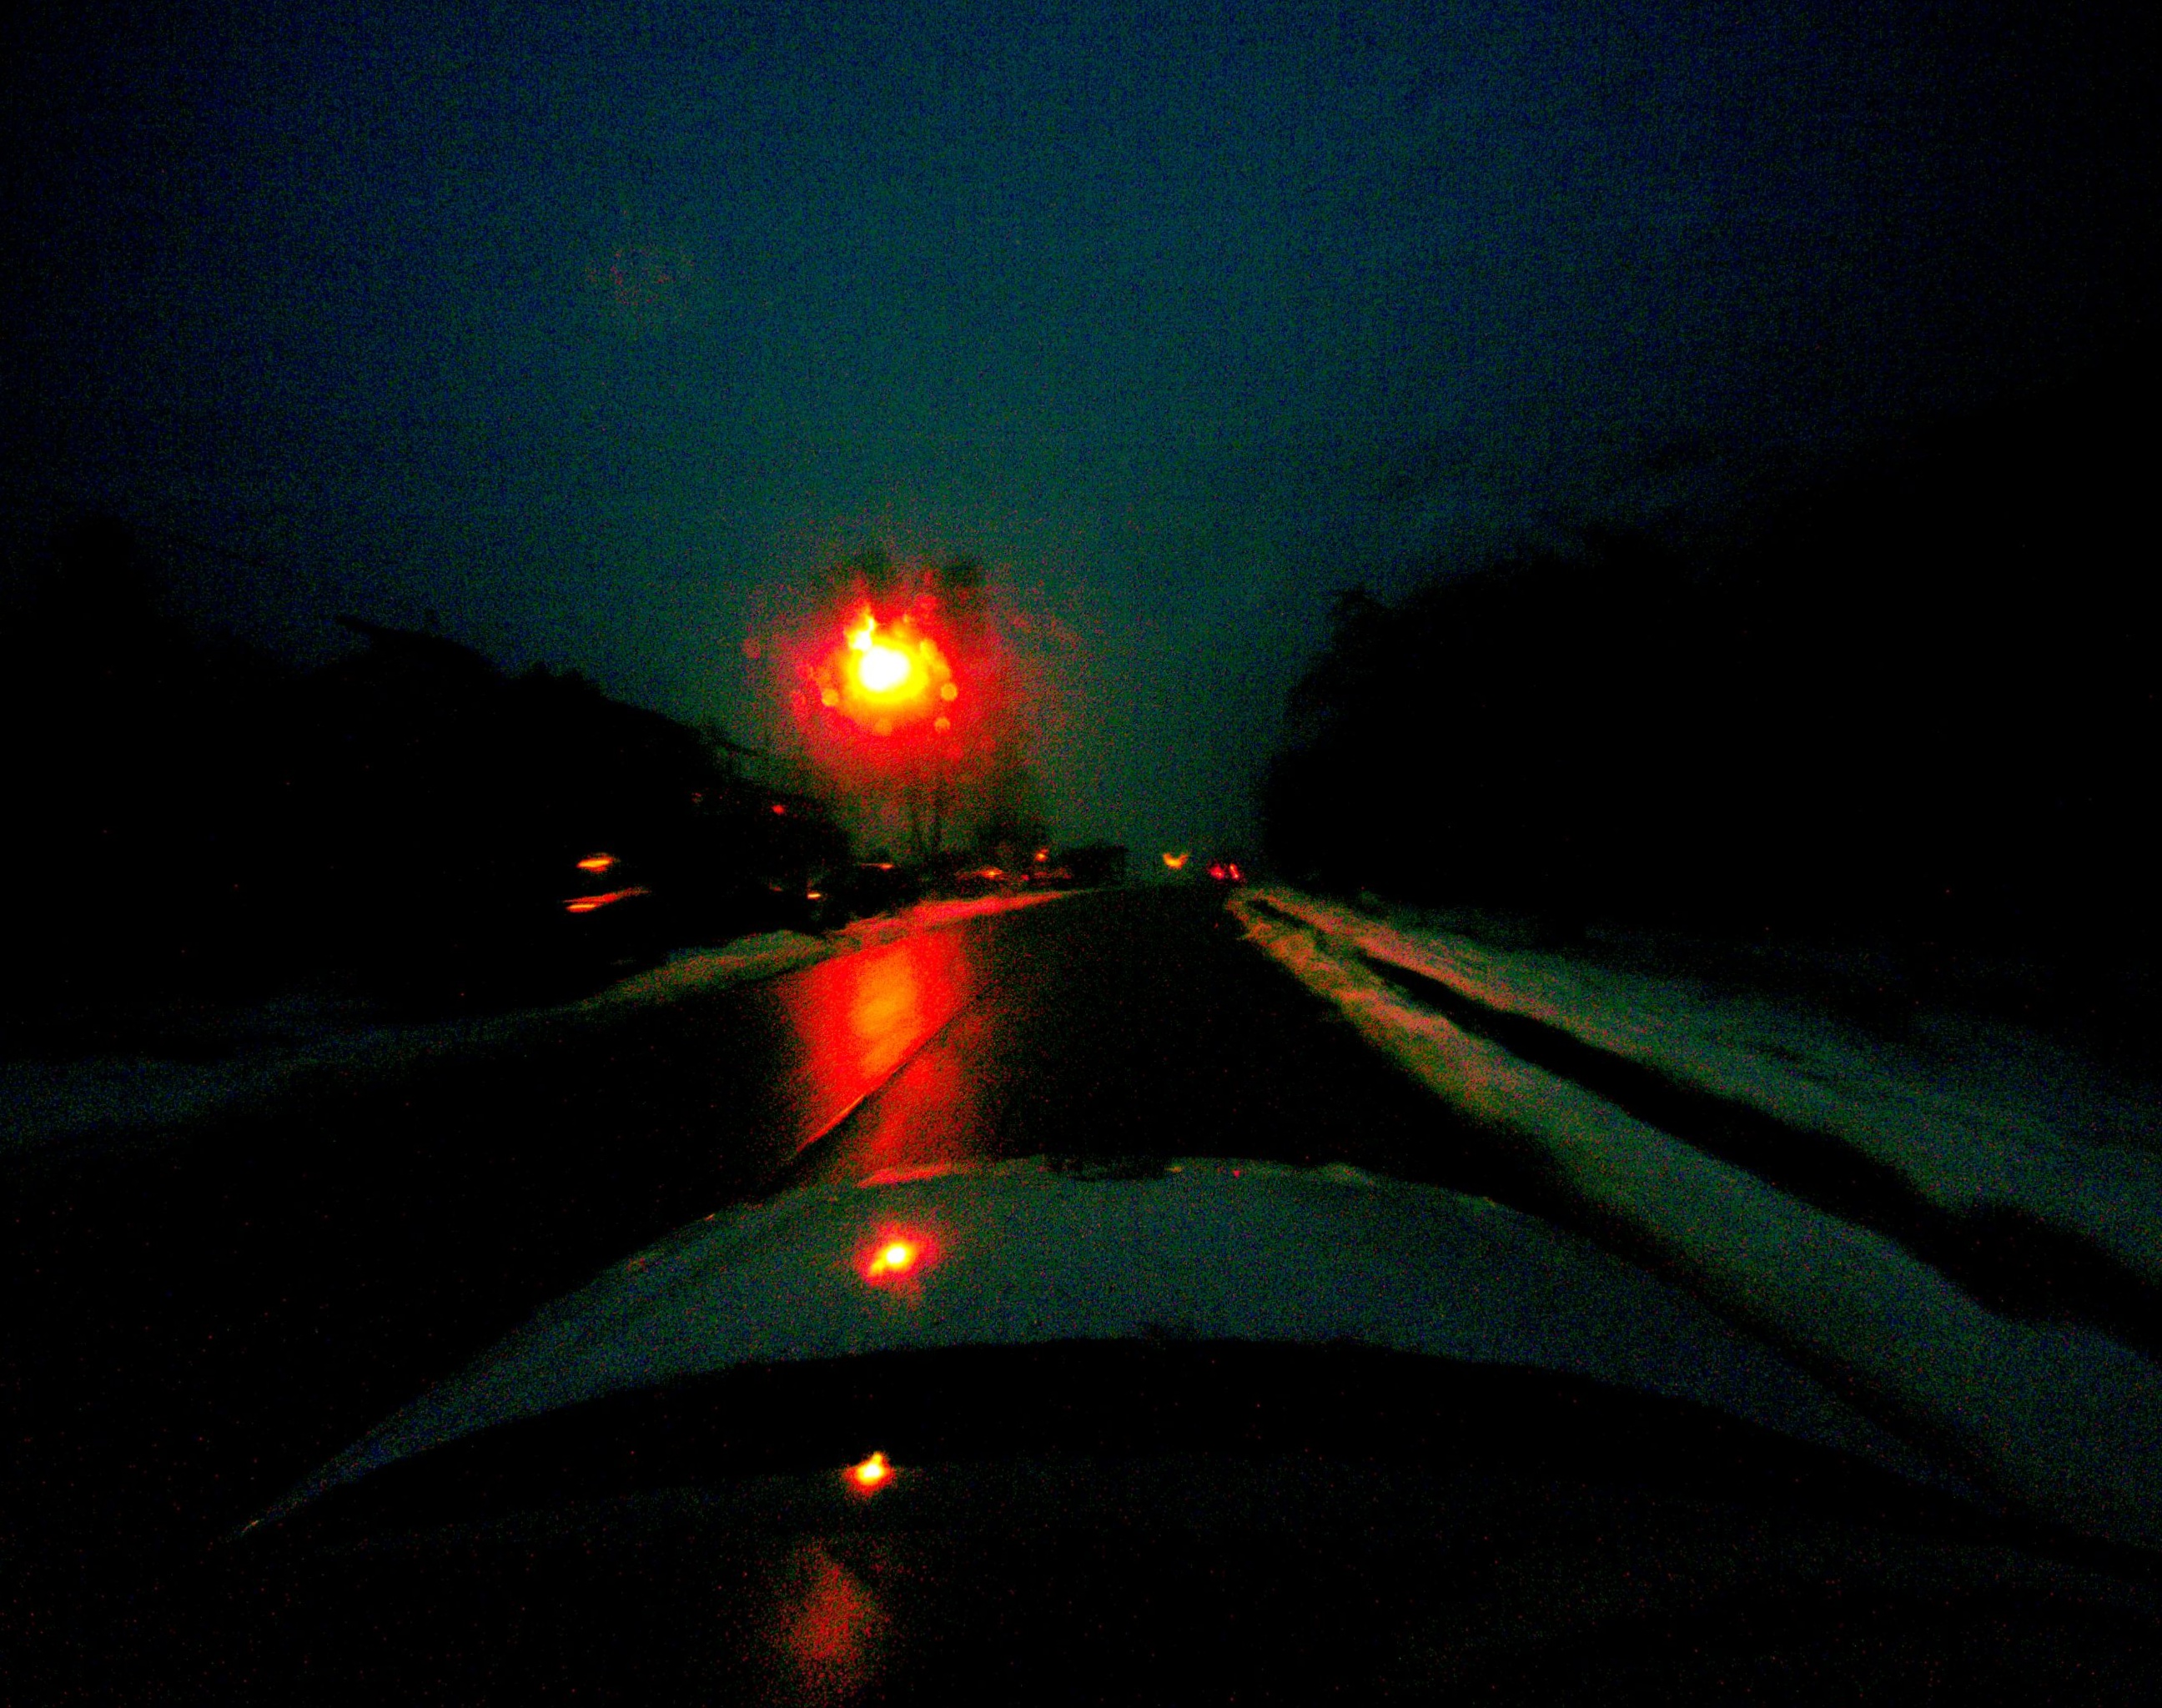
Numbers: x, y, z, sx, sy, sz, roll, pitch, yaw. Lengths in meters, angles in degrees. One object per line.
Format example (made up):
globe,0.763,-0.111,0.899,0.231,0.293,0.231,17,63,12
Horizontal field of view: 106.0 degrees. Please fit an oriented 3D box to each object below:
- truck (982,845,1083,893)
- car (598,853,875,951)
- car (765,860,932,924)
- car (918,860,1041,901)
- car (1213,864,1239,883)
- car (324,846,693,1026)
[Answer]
truck,-2.614,0.837,44.883,5.238,2.303,2.002,-3,-1,4
car,-6.613,0.888,16.111,4.518,1.566,2.108,-3,-1,-4
car,-6.163,0.987,21.926,3.841,1.471,1.939,-3,-1,1
car,-4.323,1.131,35.181,4.864,1.485,2.126,-3,-1,4
car,11.593,1.560,65.217,1.981,1.420,4.011,0,0,10
car,-6.663,0.835,10.334,1.996,1.566,4.975,-4,-1,-13
